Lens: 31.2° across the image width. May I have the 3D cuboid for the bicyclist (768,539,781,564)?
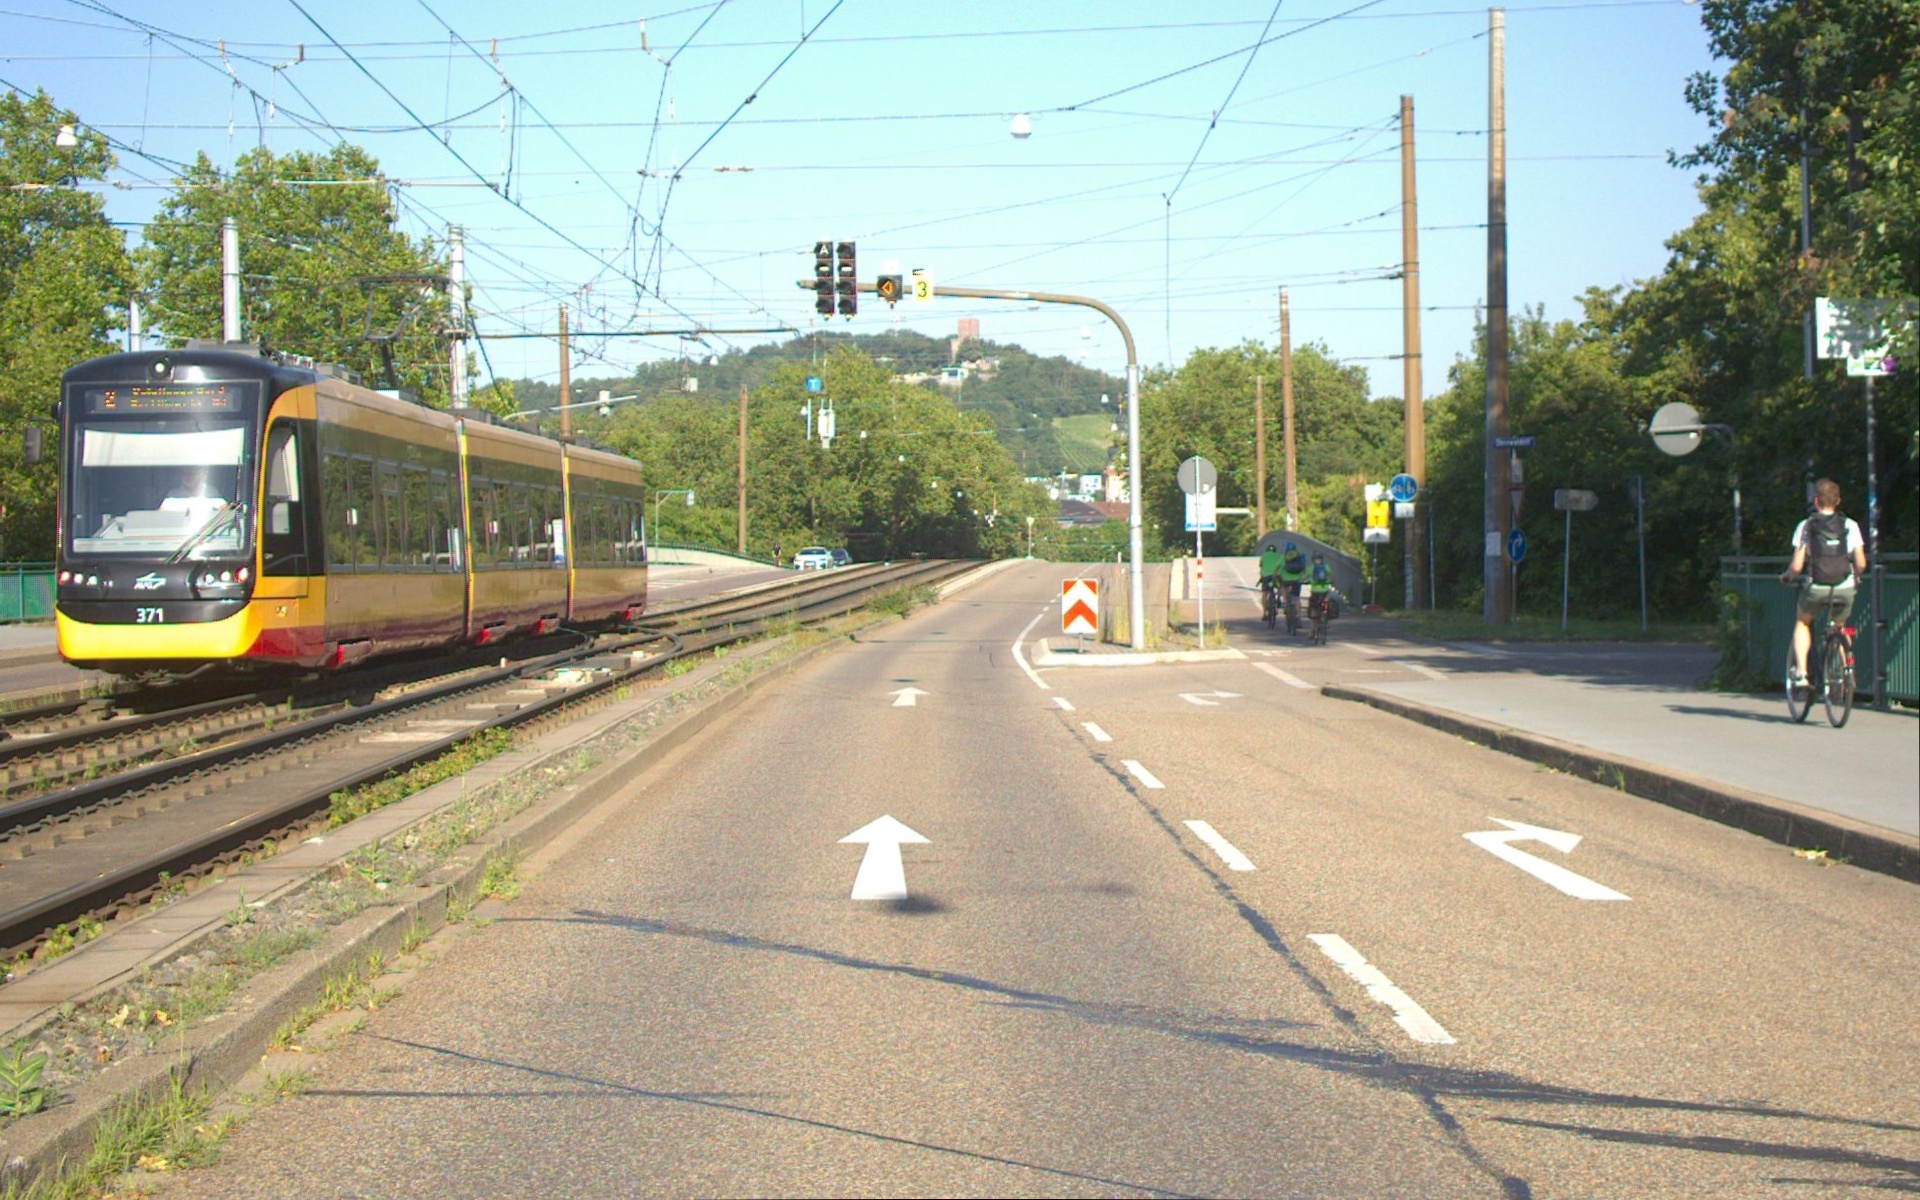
[{"bbox_3d":[-10.537,-2.773,195.291,0.625,1.427,0.969,0,1,1],"label":"bicyclist"}]

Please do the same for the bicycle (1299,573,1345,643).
[{"bbox_3d":[6.292,0.130,59.794,0.683,1.118,2.216,0,2,3],"label":"bicycle"}]

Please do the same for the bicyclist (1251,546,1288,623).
[{"bbox_3d":[6.123,-0.319,67.954,0.625,1.503,1.006,0,1,-1],"label":"bicyclist"}]

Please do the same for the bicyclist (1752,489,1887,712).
[{"bbox_3d":[6.652,-0.004,26.658,0.731,1.684,1.202,0,1,-1],"label":"bicyclist"}]

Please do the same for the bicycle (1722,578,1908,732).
[{"bbox_3d":[6.638,0.398,26.832,0.731,1.118,2.742,0,1,-1],"label":"bicycle"}]

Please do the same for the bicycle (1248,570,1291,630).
[{"bbox_3d":[6.115,-0.011,68.085,0.625,1.118,2.260,0,1,-1],"label":"bicycle"}]

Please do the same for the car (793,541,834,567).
[{"bbox_3d":[-7.892,-2.493,185.165,1.684,1.351,4.920,0,1,3],"label":"car"}]

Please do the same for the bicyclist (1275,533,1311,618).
[{"bbox_3d":[6.290,-0.470,64.965,0.625,1.587,0.931,0,1,3],"label":"bicyclist"}]

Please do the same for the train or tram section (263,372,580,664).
[{"bbox_3d":[-7.876,-1.194,51.974,2.976,3.887,11.665,-1,1,0],"label":"train or tram section"}]

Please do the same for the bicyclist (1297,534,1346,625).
[{"bbox_3d":[6.280,-0.358,59.760,0.812,1.557,0.896,0,2,3],"label":"bicyclist"}]

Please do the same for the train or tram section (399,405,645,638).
[{"bbox_3d":[-7.945,-1.413,64.136,2.978,3.887,12.702,-1,1,0],"label":"train or tram section"}]

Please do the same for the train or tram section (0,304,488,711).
[{"bbox_3d":[-7.827,-0.992,39.598,3.004,3.887,13.081,-1,1,0],"label":"train or tram section"}]

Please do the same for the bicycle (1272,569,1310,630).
[{"bbox_3d":[6.253,-0.019,64.953,0.625,1.118,2.042,0,1,3],"label":"bicycle"}]
